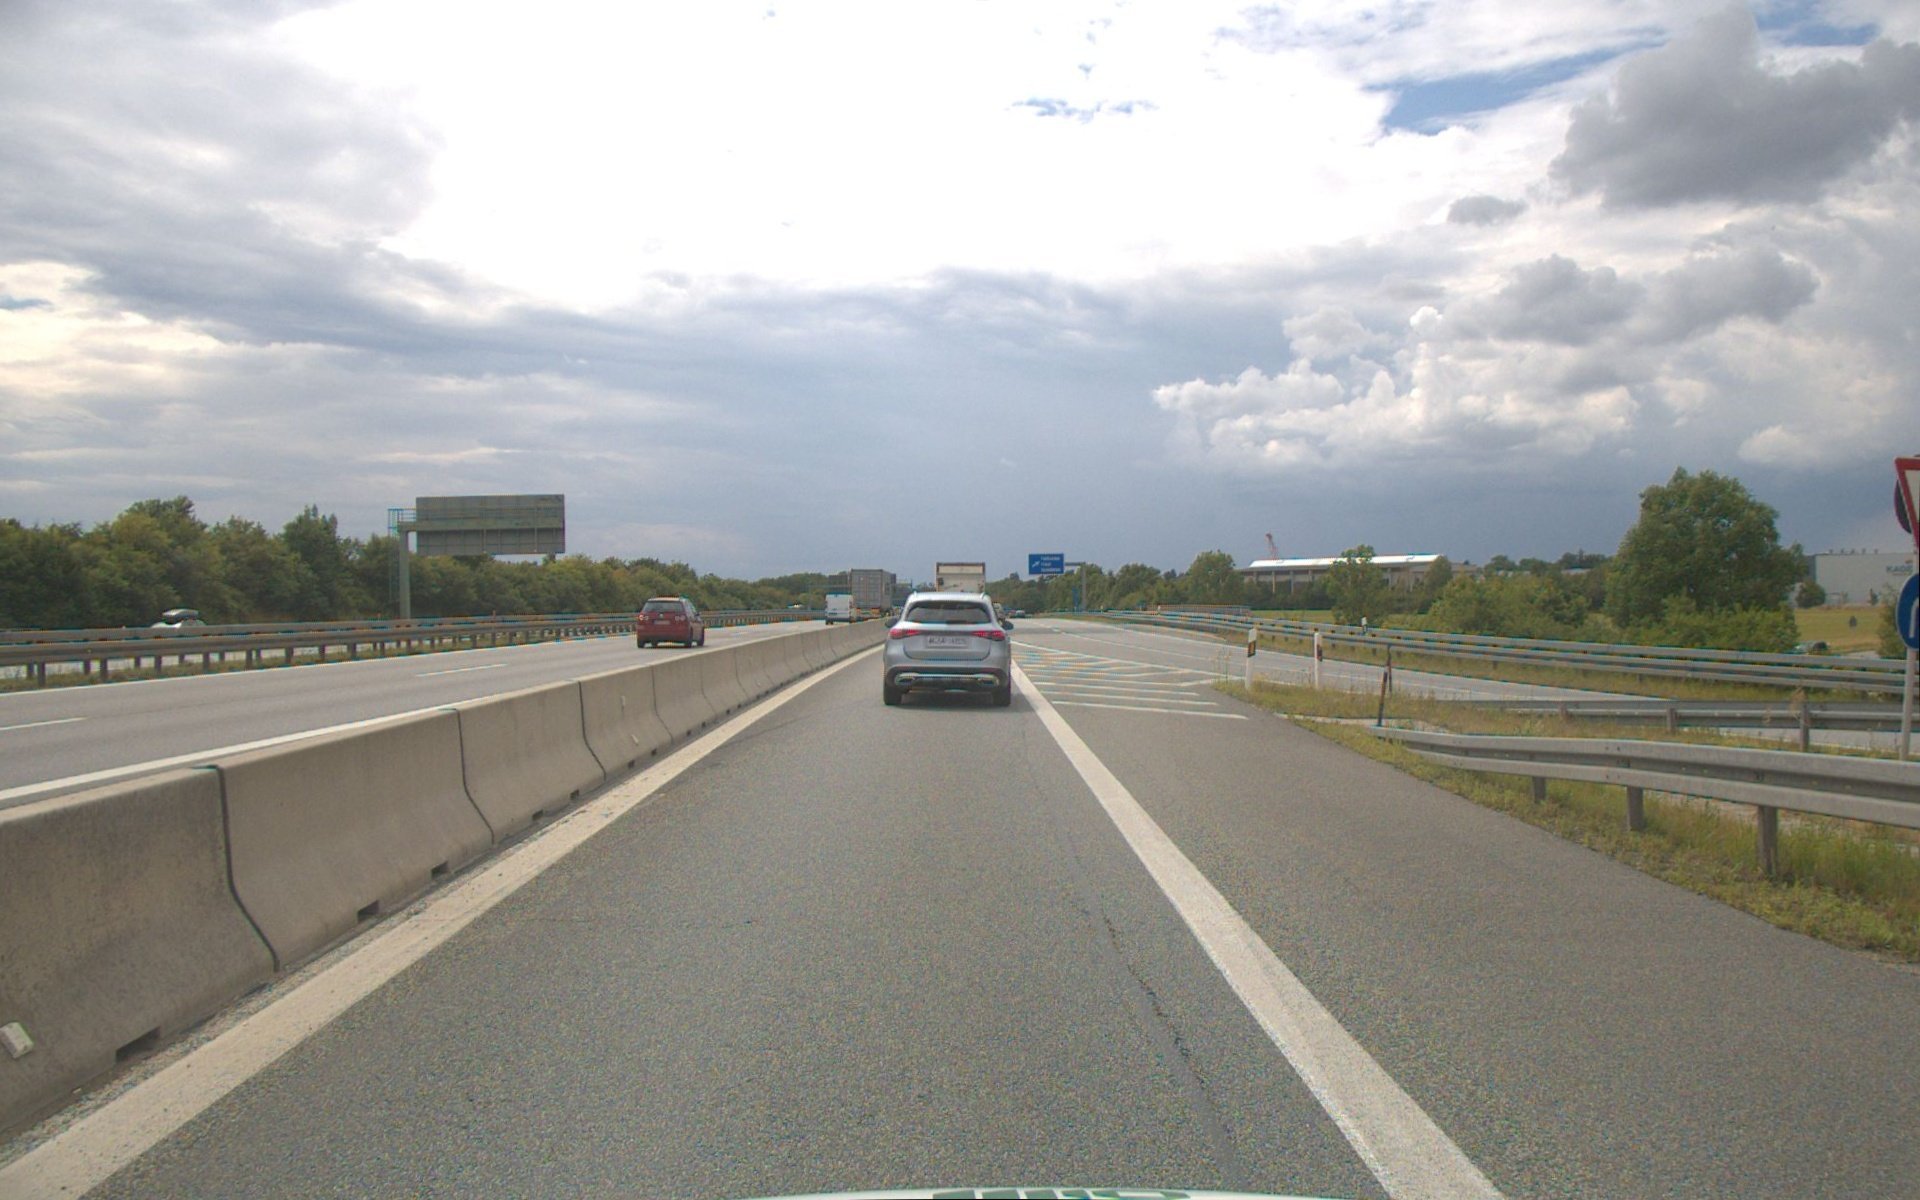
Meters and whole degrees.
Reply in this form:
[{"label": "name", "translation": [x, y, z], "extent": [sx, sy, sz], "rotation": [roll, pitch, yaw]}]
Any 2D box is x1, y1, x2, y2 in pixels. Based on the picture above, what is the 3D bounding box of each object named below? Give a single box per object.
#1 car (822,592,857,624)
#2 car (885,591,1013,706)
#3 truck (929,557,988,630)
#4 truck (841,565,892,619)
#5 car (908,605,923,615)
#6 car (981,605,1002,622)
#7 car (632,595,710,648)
[{"label": "car", "translation": [-8.146, 0.535, 111.896], "extent": [1.952, 2.049, 4.375], "rotation": [1, 1, 1]}, {"label": "car", "translation": [-0.184, 0.673, 25.103], "extent": [1.782, 1.541, 4.000], "rotation": [1, 1, -1]}, {"label": "truck", "translation": [-0.124, -0.269, 76.653], "extent": [2.516, 3.180, 8.632], "rotation": [1, 0, -1]}, {"label": "truck", "translation": [-7.409, -0.631, 133.326], "extent": [3.118, 4.089, 16.074], "rotation": [0, 0, 0]}, {"label": "car", "translation": [-5.647, 1.240, 209.240], "extent": [1.661, 1.310, 4.001], "rotation": [0, 0, 1]}, {"label": "car", "translation": [2.555, 1.041, 132.415], "extent": [1.661, 1.310, 4.001], "rotation": [0, 0, 1]}, {"label": "car", "translation": [-9.340, 0.677, 53.721], "extent": [1.782, 1.573, 4.354], "rotation": [1, 1, 0]}]
